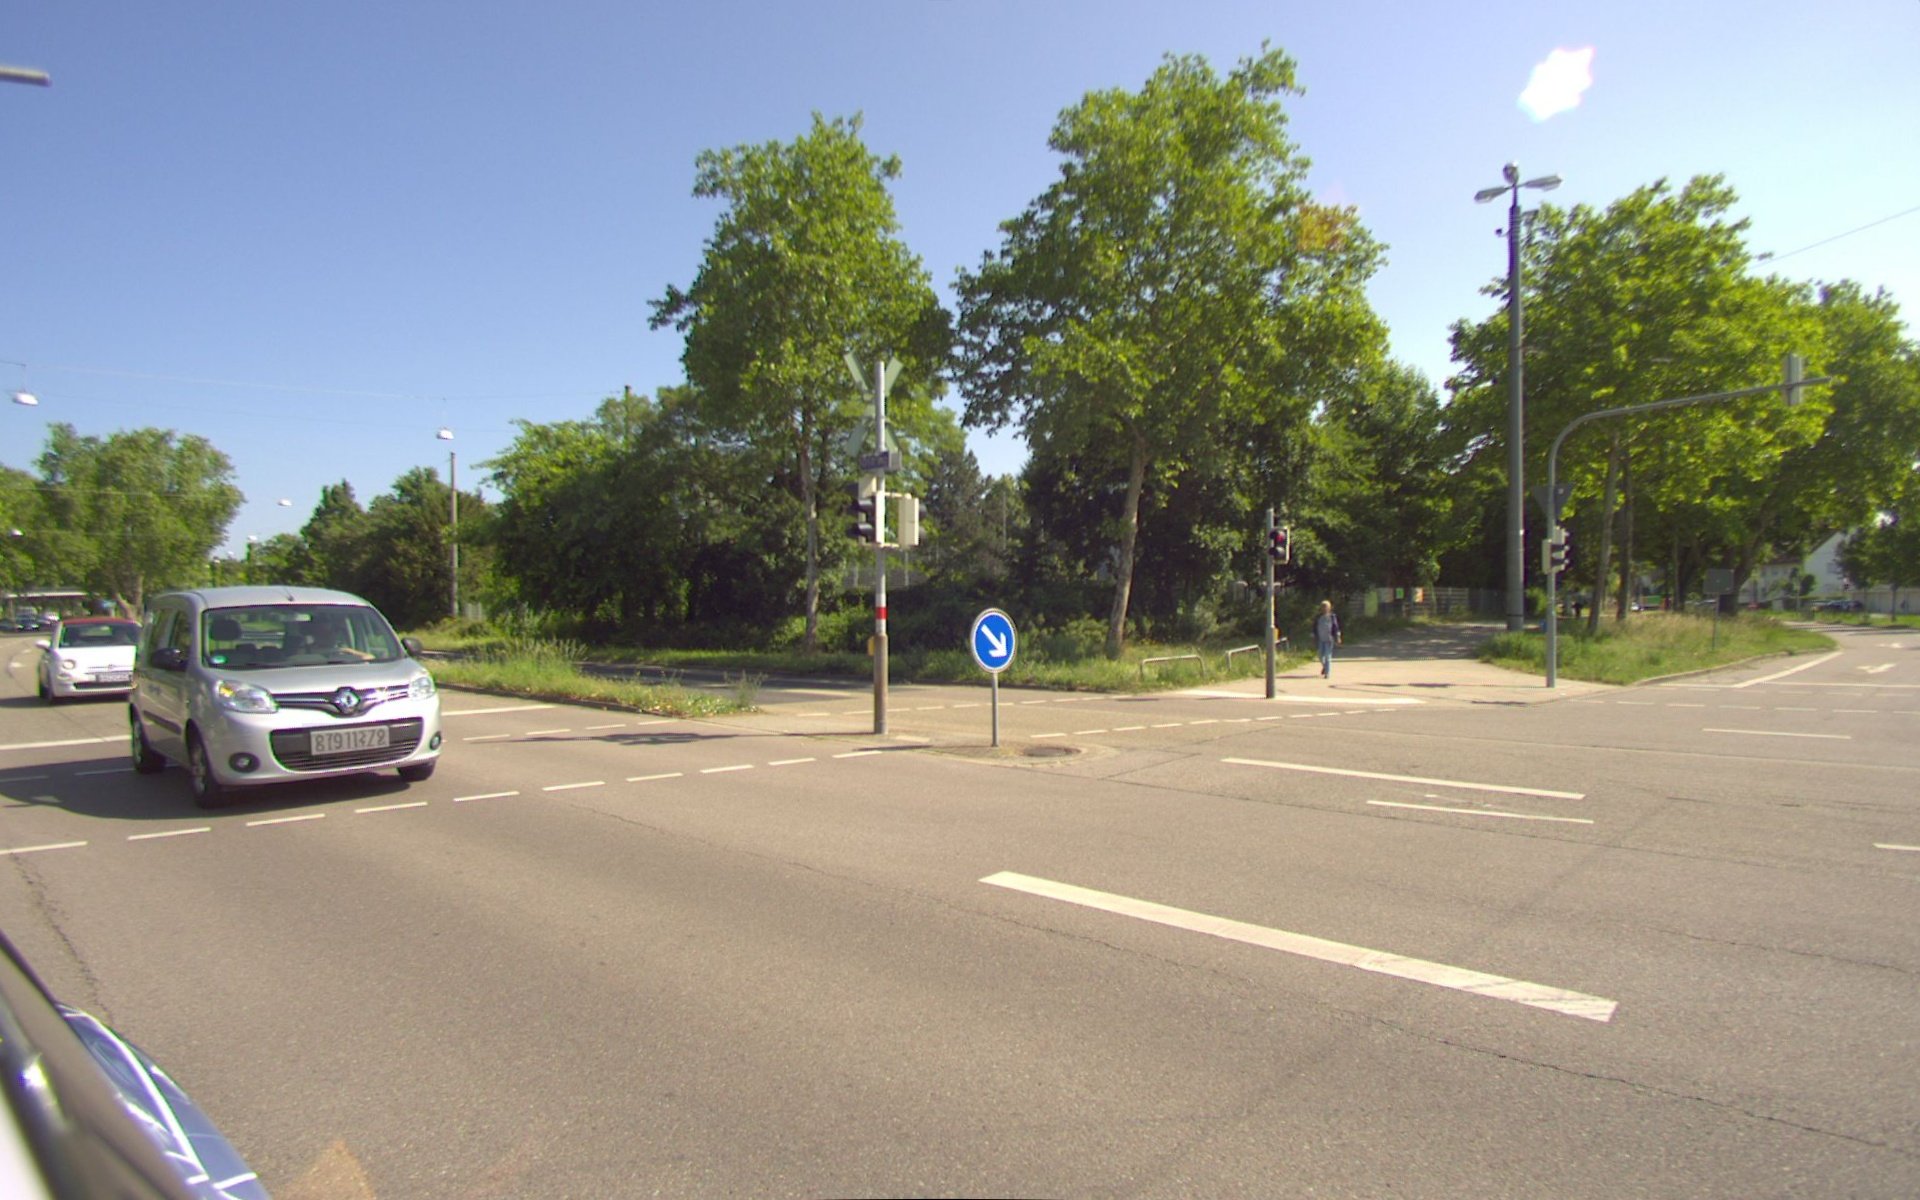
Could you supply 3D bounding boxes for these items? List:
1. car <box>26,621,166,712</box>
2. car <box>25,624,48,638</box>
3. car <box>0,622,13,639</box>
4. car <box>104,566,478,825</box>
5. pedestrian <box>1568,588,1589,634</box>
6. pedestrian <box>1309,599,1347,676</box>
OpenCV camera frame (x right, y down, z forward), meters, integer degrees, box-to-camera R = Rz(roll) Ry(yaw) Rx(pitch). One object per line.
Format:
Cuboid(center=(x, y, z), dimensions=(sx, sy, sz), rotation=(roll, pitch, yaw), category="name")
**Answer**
Cuboid(center=(-16.406, 1.169, 19.140), dimensions=(4.377, 1.502, 1.666), rotation=(-1, -1, 45), category="car")
Cuboid(center=(-134.347, 4.459, 147.287), dimensions=(1.967, 2.029, 4.010), rotation=(0, -1, -35), category="car")
Cuboid(center=(-114.341, 3.595, 120.164), dimensions=(1.966, 2.029, 4.012), rotation=(0, -1, -31), category="car")
Cuboid(center=(-6.358, 0.709, 9.395), dimensions=(4.374, 1.854, 1.852), rotation=(-1, 0, 42), category="car")
Cuboid(center=(28.706, 0.528, 46.946), dimensions=(0.753, 2.106, 0.611), rotation=(-1, -1, 35), category="pedestrian")
Cuboid(center=(7.570, 0.763, 20.820), dimensions=(0.567, 1.546, 0.600), rotation=(-1, -1, 37), category="pedestrian")
